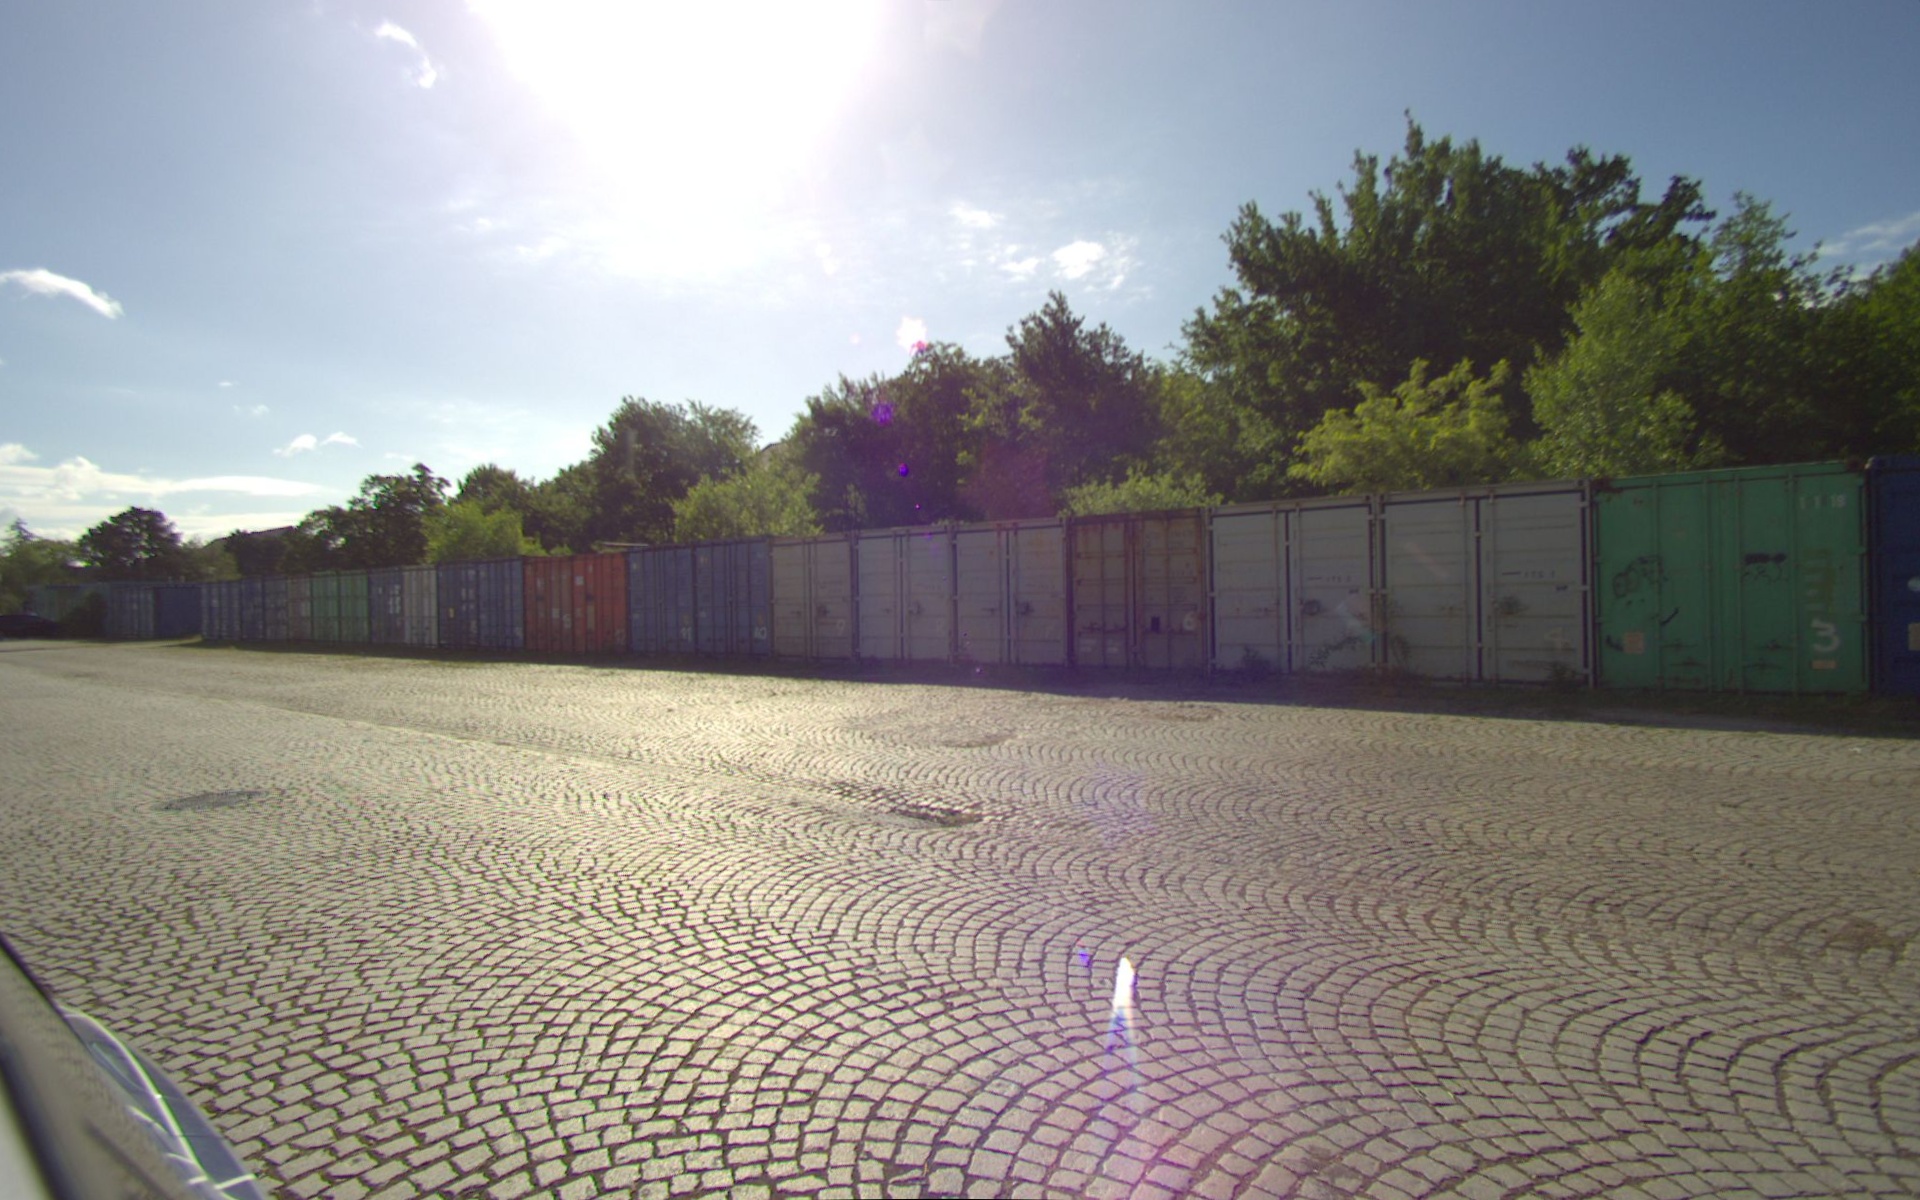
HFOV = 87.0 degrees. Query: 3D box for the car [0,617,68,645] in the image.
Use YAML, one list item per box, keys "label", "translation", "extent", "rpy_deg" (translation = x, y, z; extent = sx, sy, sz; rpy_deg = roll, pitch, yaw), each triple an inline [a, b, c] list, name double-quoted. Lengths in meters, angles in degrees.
- label: "car"
  translation: [-51.610, 1.722, 55.223]
  extent: [1.996, 1.306, 4.065]
  rpy_deg: [-1, 2, 37]
